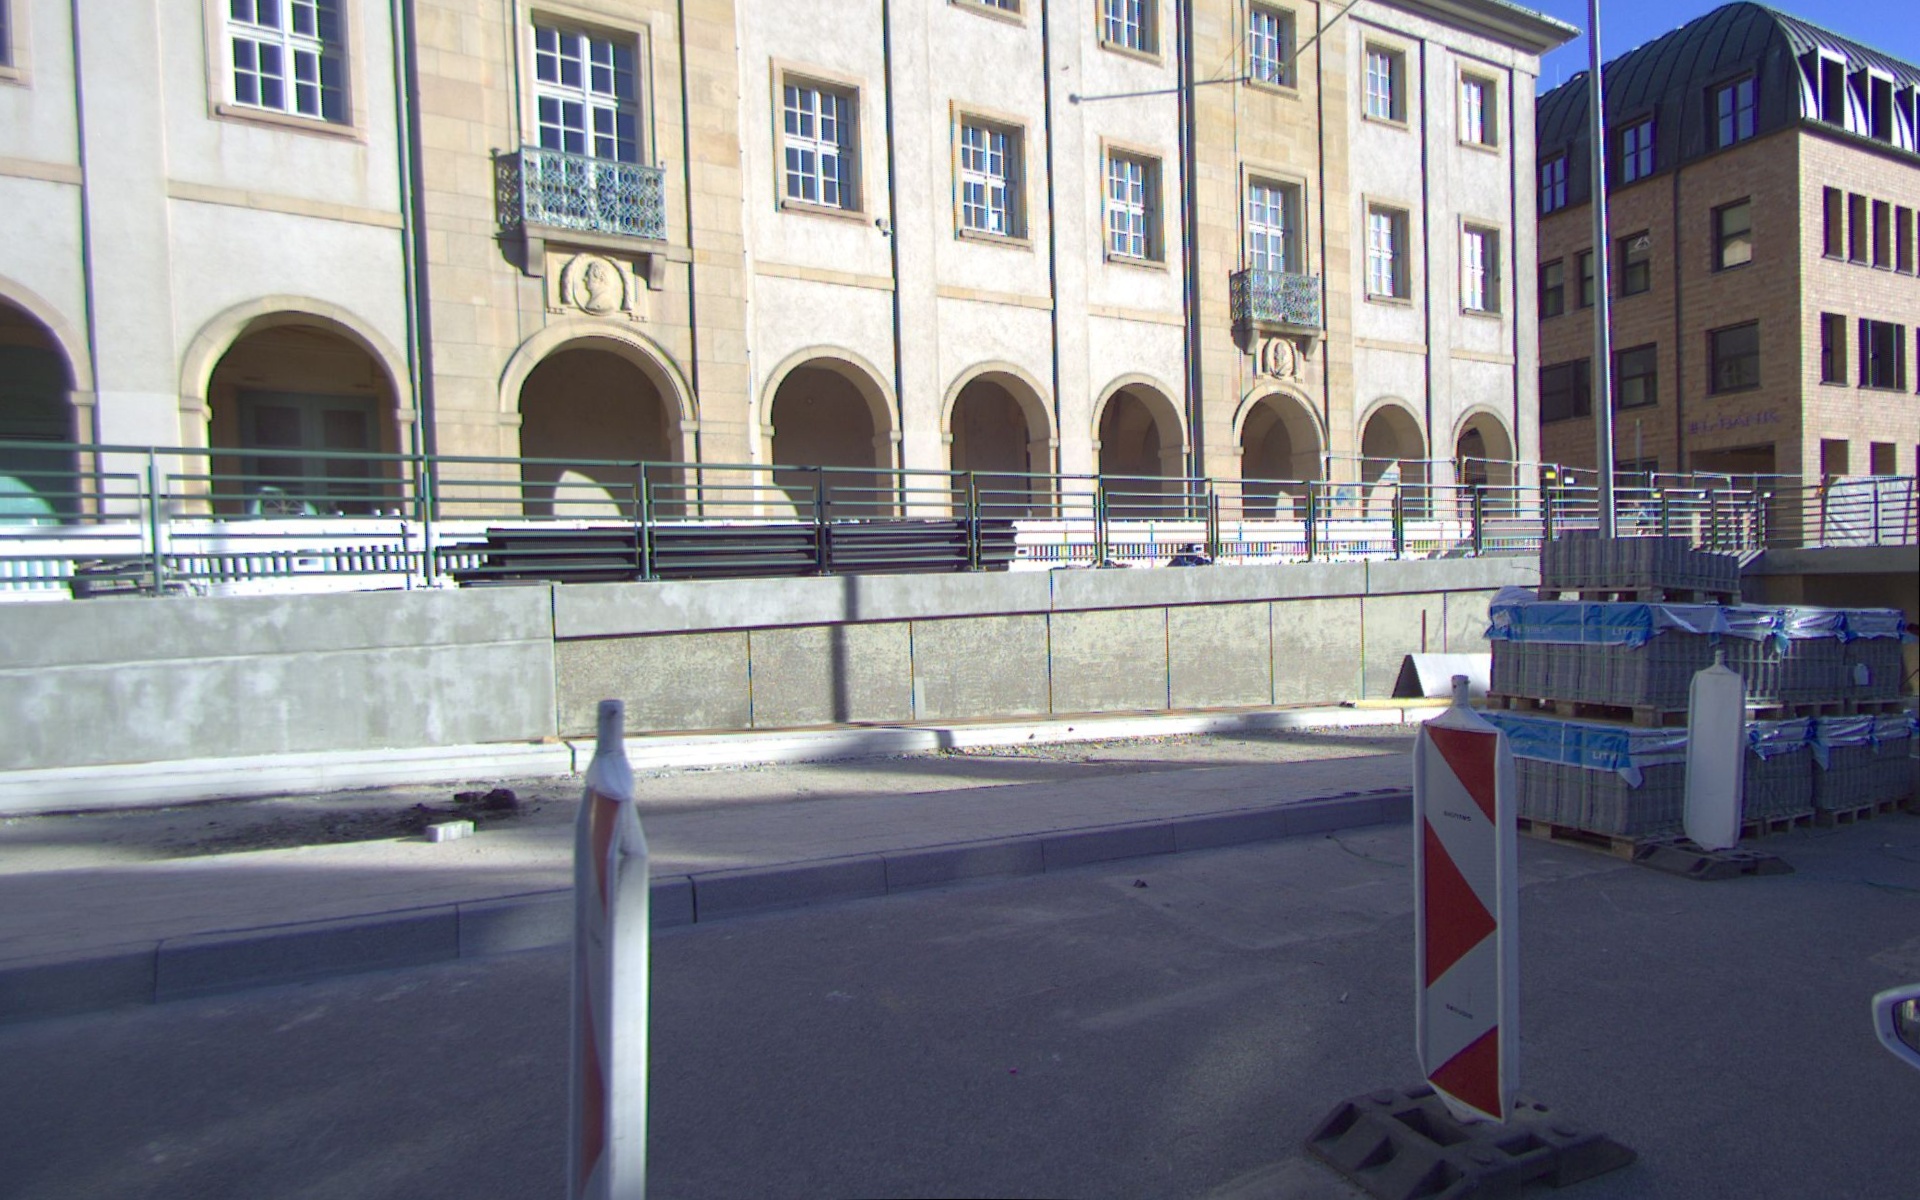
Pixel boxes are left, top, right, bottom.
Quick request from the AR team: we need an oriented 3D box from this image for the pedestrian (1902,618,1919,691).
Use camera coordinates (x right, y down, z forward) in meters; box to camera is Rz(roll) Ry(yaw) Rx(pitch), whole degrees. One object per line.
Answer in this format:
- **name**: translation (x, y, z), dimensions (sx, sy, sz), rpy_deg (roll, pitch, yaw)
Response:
- **pedestrian**: translation (21.277, 1.207, 22.111), dimensions (0.624, 1.600, 0.645), rpy_deg (1, 0, -33)
